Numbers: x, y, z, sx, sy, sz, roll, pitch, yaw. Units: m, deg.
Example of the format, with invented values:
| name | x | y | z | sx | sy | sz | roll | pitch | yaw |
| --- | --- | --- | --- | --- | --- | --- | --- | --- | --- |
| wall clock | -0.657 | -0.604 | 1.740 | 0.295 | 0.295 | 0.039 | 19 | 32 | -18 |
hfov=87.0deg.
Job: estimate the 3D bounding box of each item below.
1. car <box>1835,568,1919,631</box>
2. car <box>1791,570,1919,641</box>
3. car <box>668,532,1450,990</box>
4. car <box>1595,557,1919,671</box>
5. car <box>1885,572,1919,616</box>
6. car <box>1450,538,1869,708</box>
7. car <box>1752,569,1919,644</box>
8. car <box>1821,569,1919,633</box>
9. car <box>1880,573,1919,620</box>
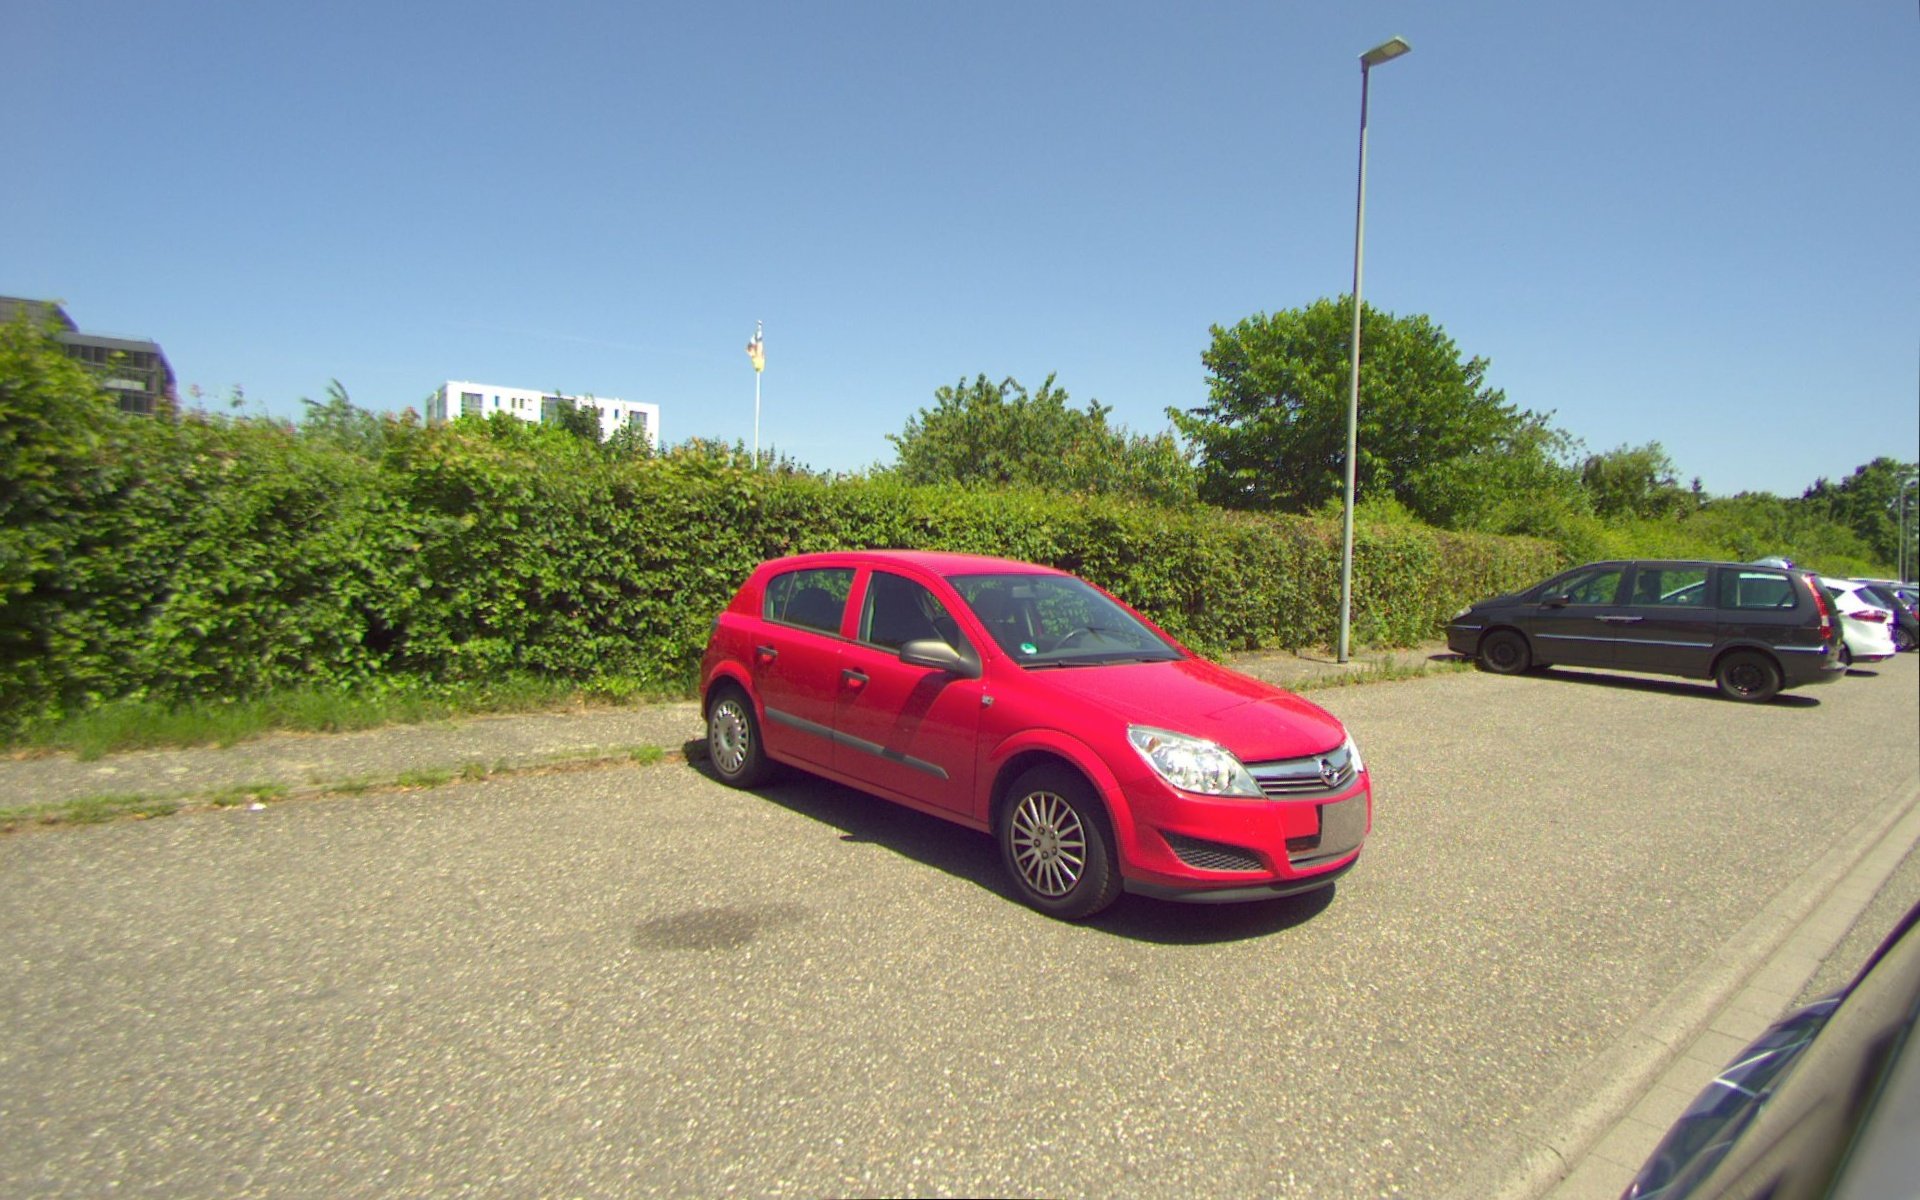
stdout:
| name | x | y | z | sx | sy | sz | roll | pitch | yaw |
| --- | --- | --- | --- | --- | --- | --- | --- | --- | --- |
| car | 28.130 | 0.081 | 29.351 | 1.637 | 1.659 | 3.966 | 0 | 6 | -44 |
| car | 23.780 | 0.170 | 25.656 | 3.966 | 1.541 | 1.835 | 8 | 6 | 44 |
| car | 0.198 | 0.453 | 5.564 | 1.805 | 1.451 | 4.061 | 0 | 5 | -43 |
| car | 14.103 | 0.148 | 18.085 | 1.735 | 1.597 | 4.284 | 0 | 4 | -42 |
| car | 39.452 | -0.151 | 40.061 | 1.736 | 1.706 | 3.981 | 0 | 4 | -41 |
| car | 9.567 | 0.159 | 14.125 | 1.921 | 1.826 | 4.458 | -1 | 5 | -44 |
| car | 21.201 | 0.137 | 24.056 | 1.558 | 1.522 | 3.399 | 1 | 3 | -37 |
| car | 25.829 | 0.081 | 27.534 | 3.456 | 1.545 | 1.515 | 8 | 6 | 44 |
| car | 37.694 | -0.041 | 37.966 | 1.818 | 1.750 | 4.465 | -1 | 5 | -40 |
